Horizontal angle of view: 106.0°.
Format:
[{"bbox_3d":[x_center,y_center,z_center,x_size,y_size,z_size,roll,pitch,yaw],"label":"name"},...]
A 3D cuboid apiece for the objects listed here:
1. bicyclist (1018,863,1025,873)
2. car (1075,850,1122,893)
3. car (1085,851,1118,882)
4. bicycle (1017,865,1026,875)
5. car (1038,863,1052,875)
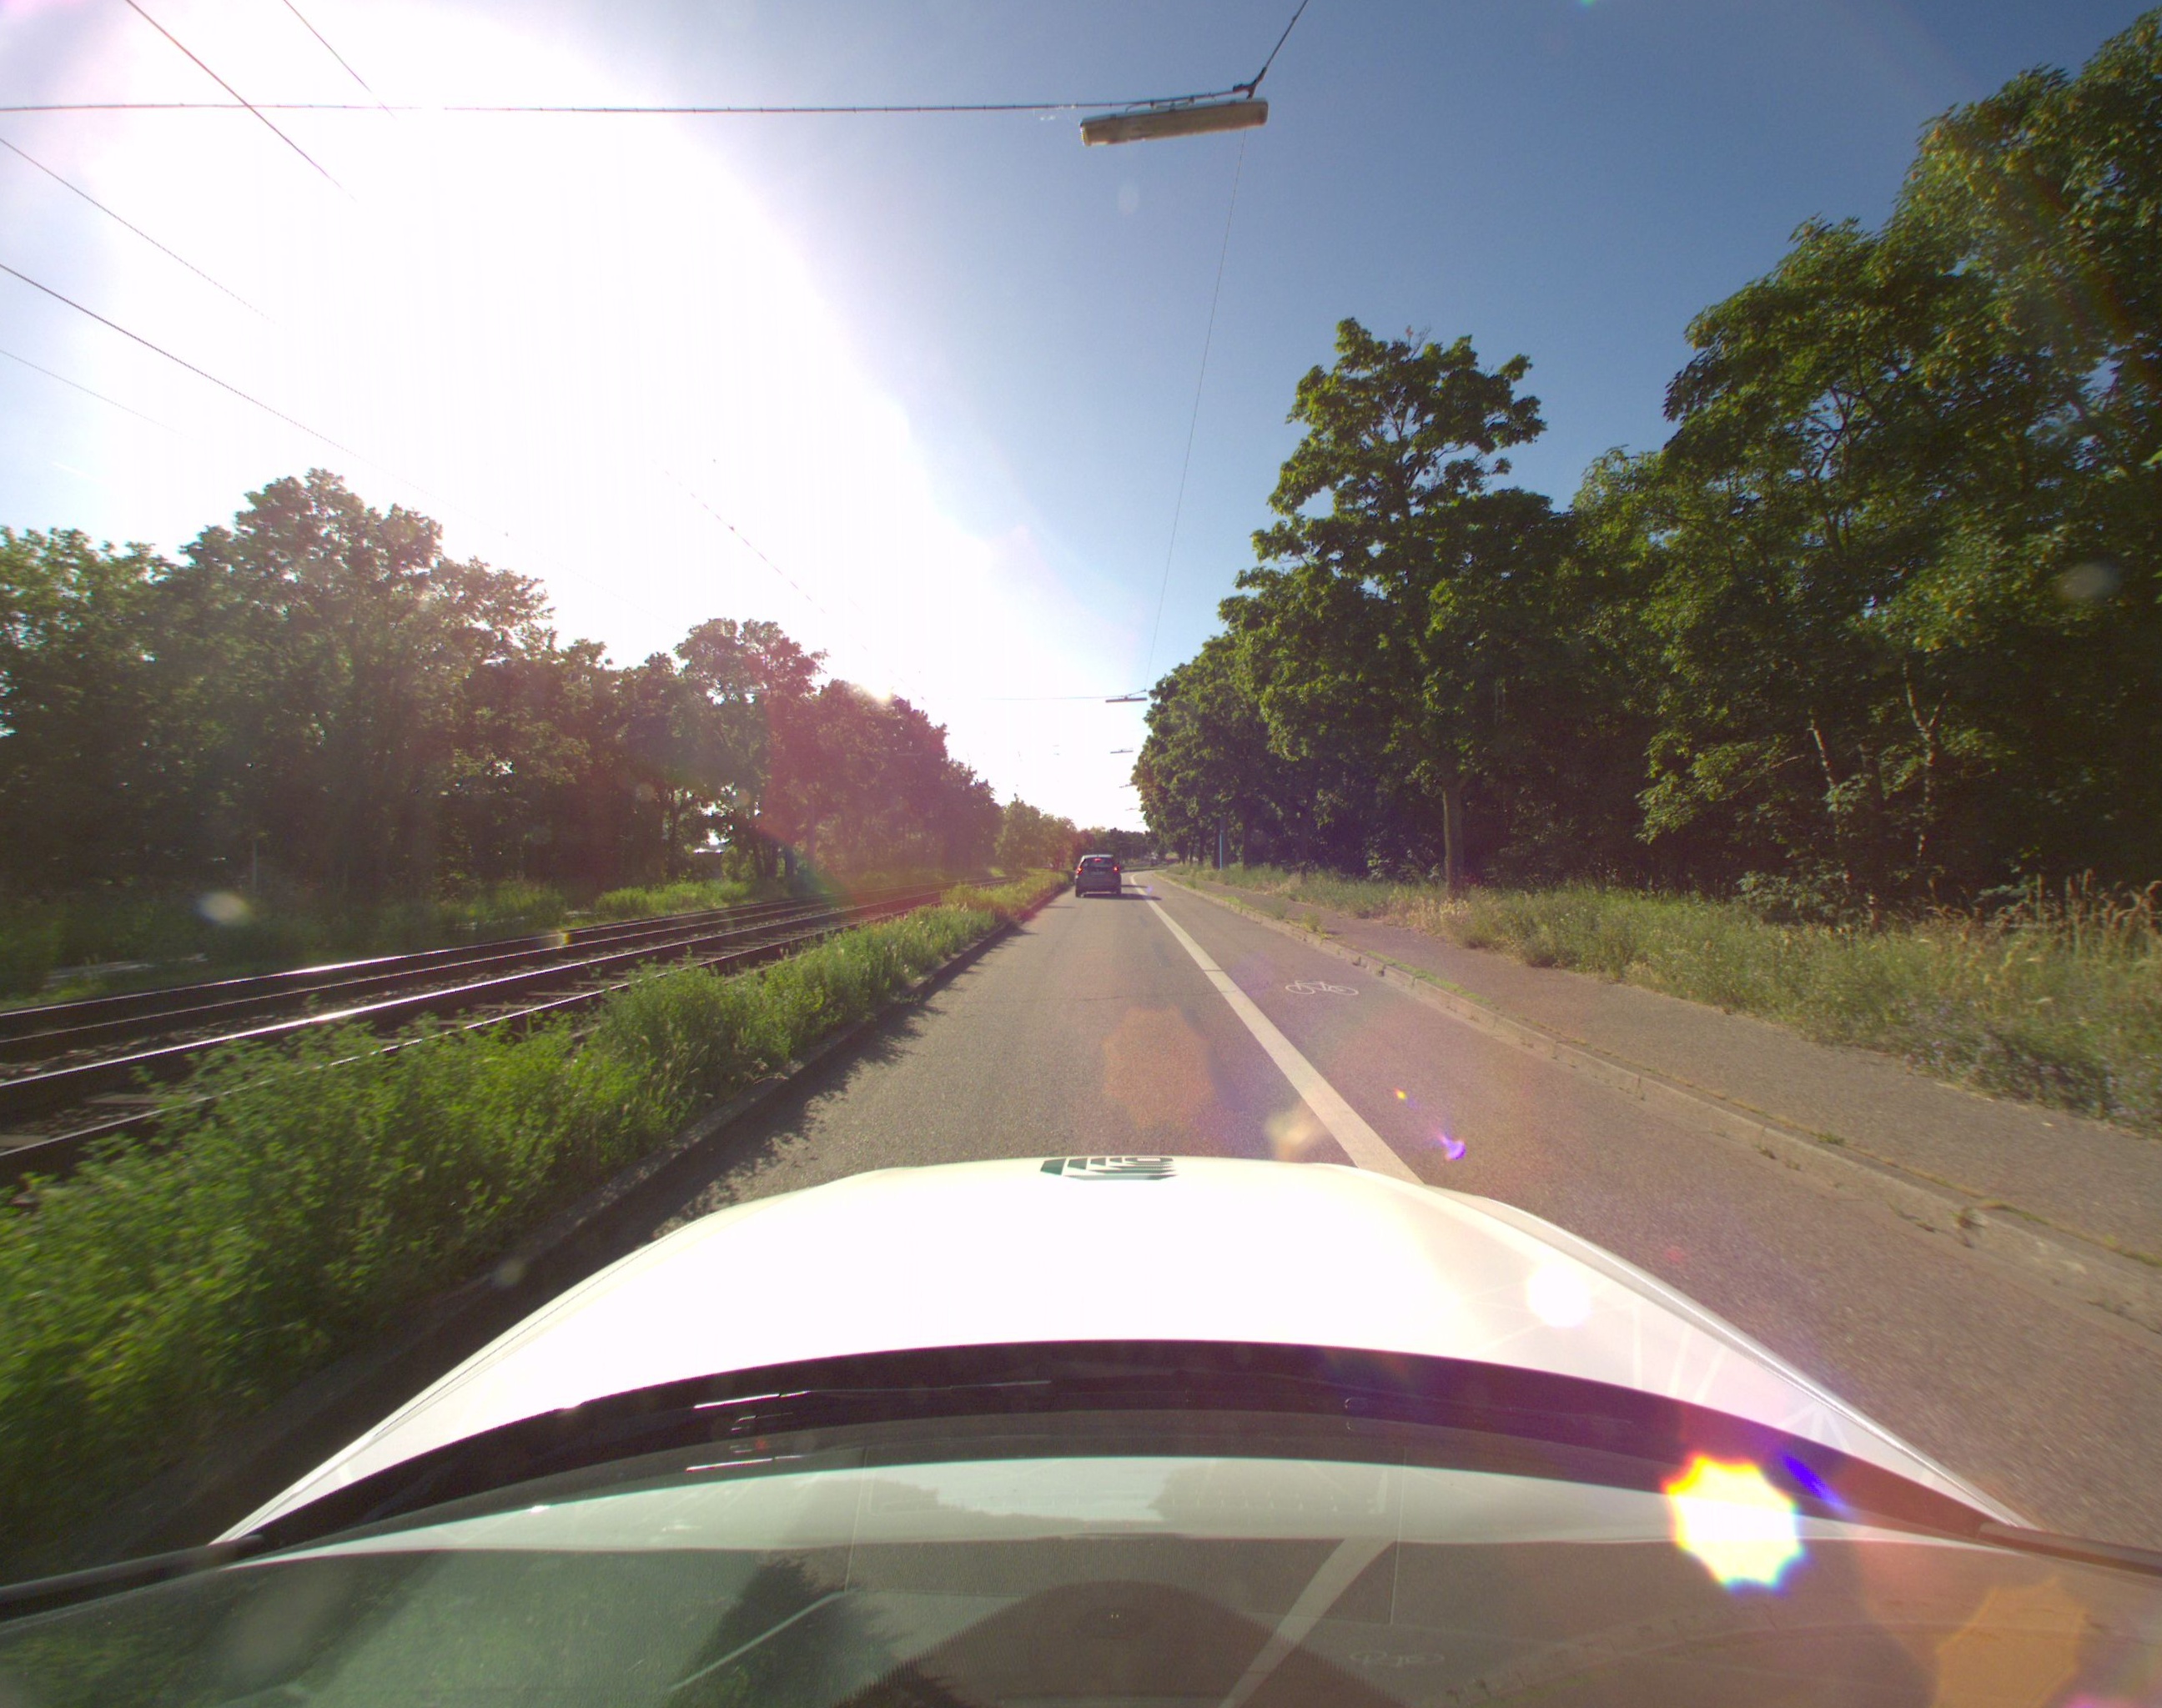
[{"bbox_3d":[-8.934,2.099,122.117,0.786,1.489,1.110,1,2,5],"label":"bicyclist"},{"bbox_3d":[0.710,0.609,30.621,1.663,1.507,3.813,1,0,2],"label":"car"},{"bbox_3d":[1.117,0.626,42.673,1.648,1.507,3.814,1,1,2],"label":"car"},{"bbox_3d":[-8.940,2.379,122.028,0.785,1.195,3.174,1,2,5],"label":"bicycle"},{"bbox_3d":[-6.635,2.735,150.476,1.984,1.875,4.006,1,2,5],"label":"car"}]
